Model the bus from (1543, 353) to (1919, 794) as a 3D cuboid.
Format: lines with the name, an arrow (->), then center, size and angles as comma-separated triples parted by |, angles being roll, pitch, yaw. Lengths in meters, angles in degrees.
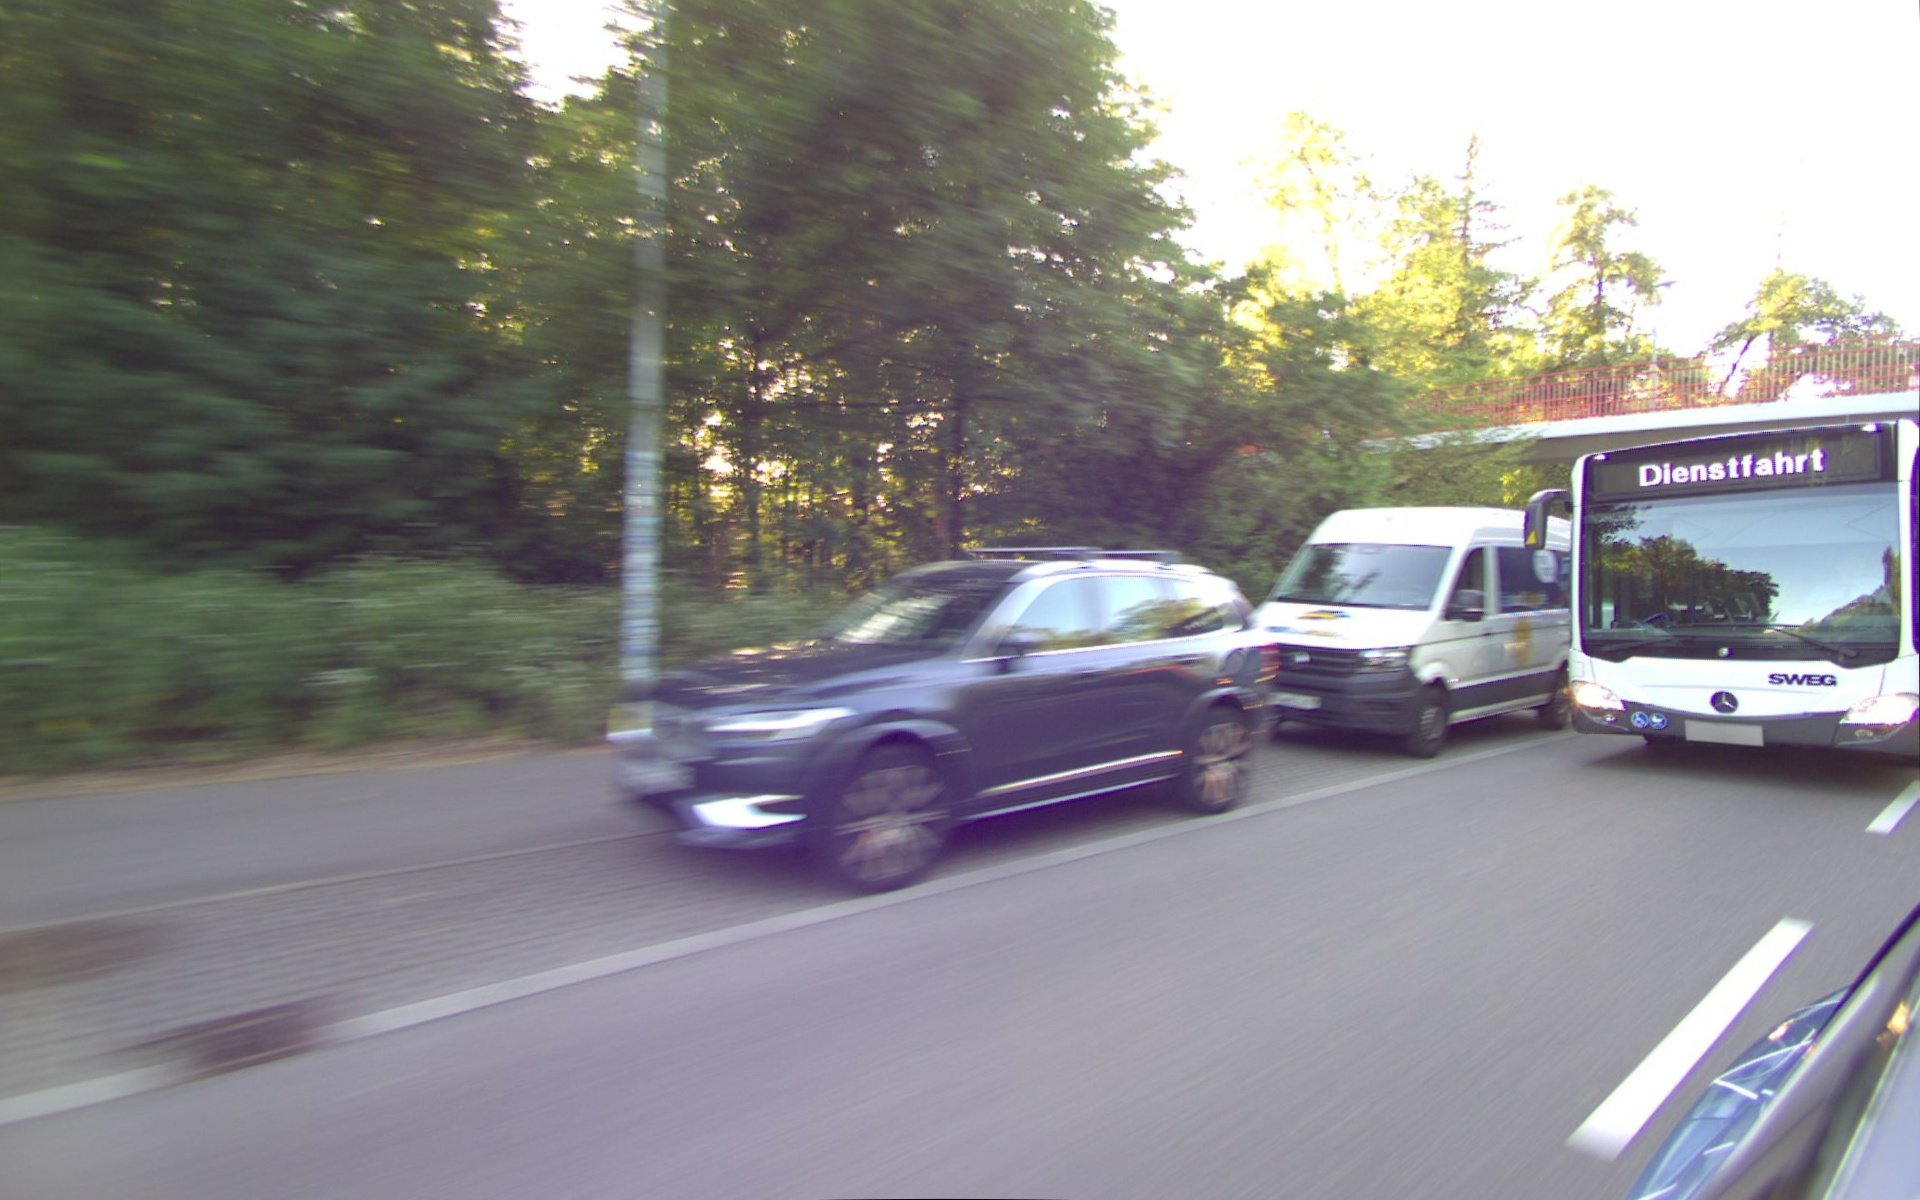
bus -> 10.757, -0.204, 12.459 | 12.069, 3.263, 2.707 | 0, 0, -43

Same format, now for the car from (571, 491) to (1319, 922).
car -> 0.243, 0.450, 6.774 | 4.985, 1.891, 1.833 | 0, 1, -41

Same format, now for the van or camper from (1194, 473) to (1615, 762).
van or camper -> 5.371, 0.139, 11.694 | 5.875, 2.549, 2.123 | 1, 1, -41
